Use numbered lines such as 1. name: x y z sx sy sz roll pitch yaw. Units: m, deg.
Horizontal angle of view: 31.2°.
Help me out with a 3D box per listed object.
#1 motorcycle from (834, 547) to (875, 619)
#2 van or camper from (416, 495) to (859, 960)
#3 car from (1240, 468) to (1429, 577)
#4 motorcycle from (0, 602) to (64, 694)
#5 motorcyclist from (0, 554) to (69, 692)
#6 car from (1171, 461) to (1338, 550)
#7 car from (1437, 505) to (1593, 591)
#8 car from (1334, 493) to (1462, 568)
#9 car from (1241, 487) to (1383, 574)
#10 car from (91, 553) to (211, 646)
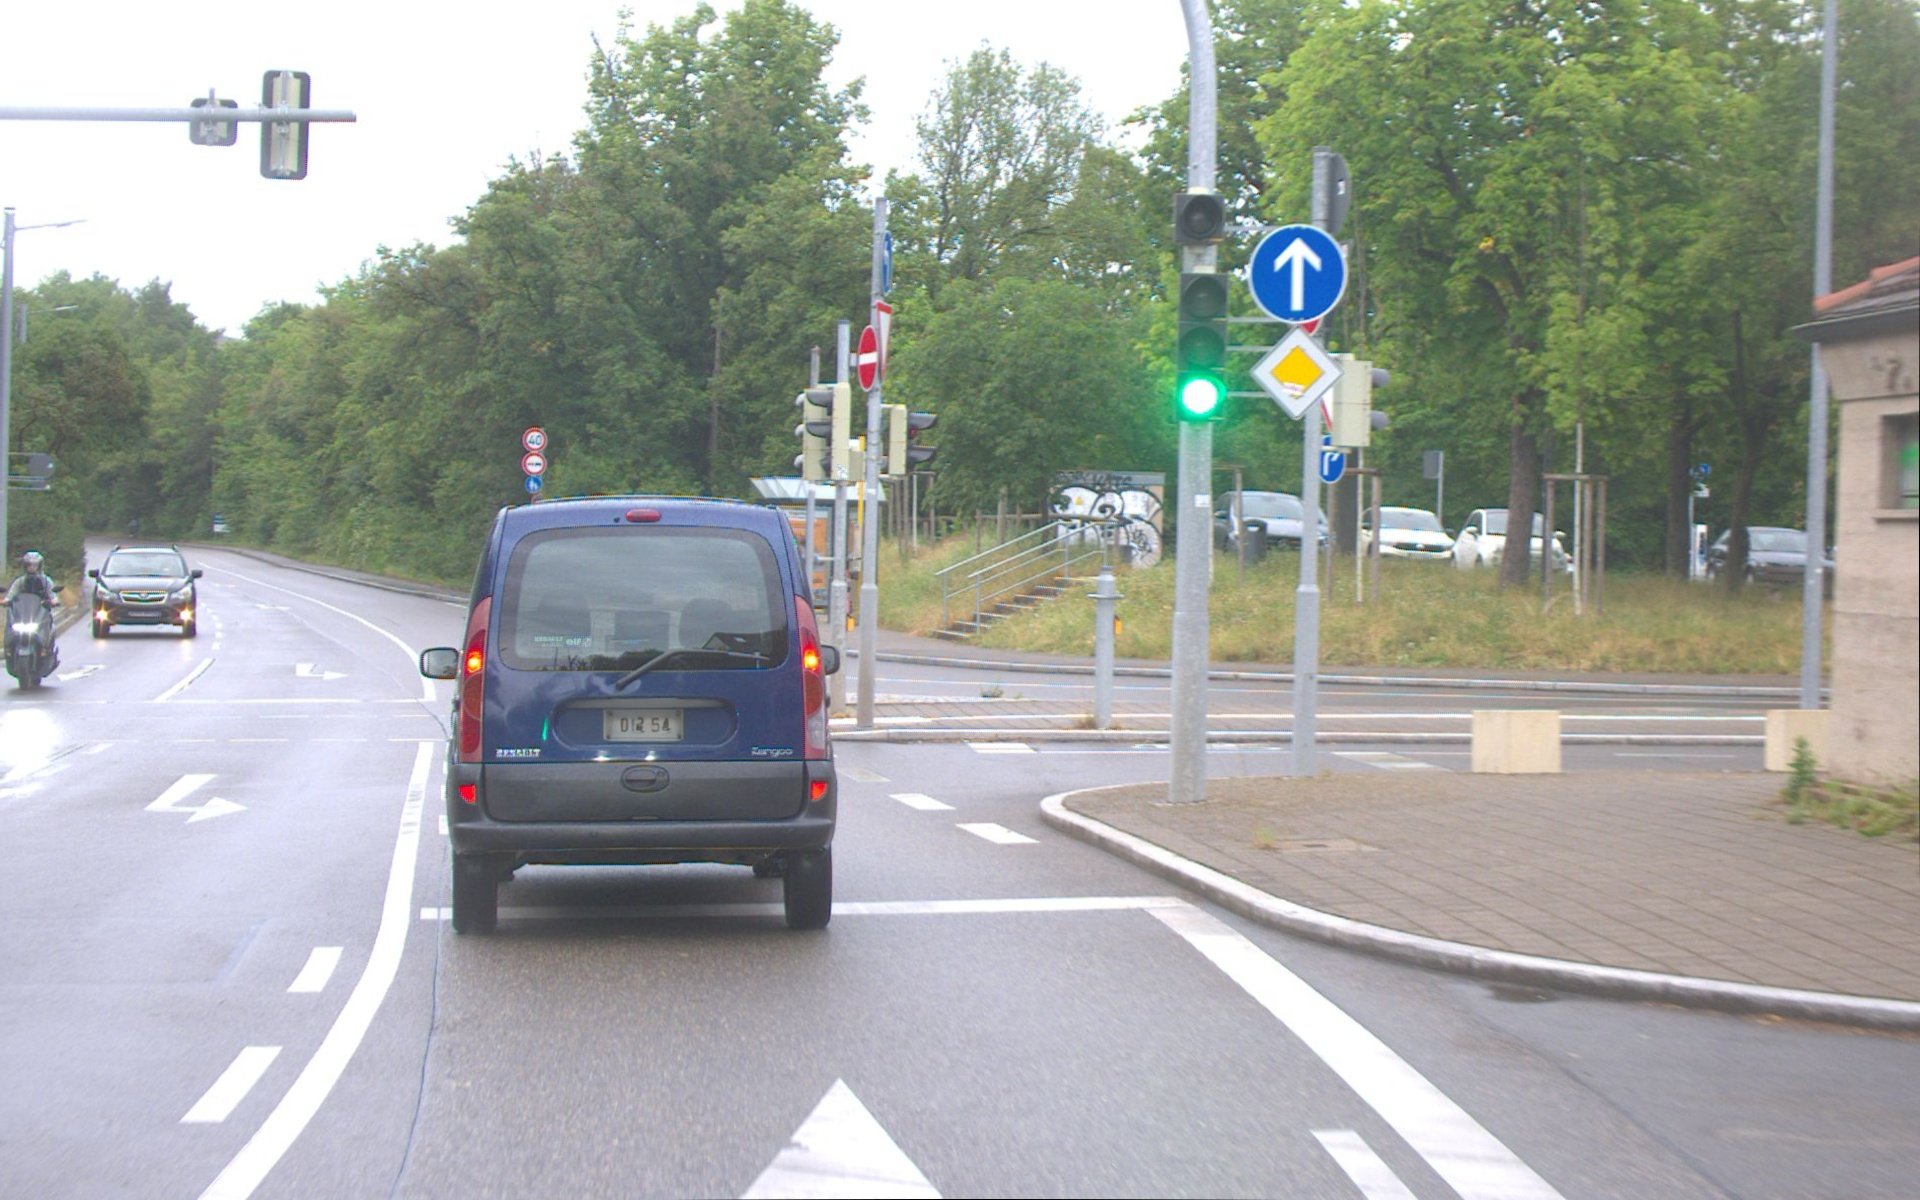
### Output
1. motorcycle: -1.929 -0.325 62.806 0.589 1.284 1.538 1 1 4
2. van or camper: -1.541 0.488 15.751 1.712 1.819 4.001 2 1 -7
3. car: 6.294 -1.327 58.205 1.993 1.656 4.001 4 1 -11
4. motorcycle: -11.118 0.560 41.133 0.594 1.047 1.999 0 1 -10
5. motorcyclist: -11.100 0.268 41.121 0.745 1.626 0.927 0 1 -7
6. car: 5.413 -1.722 63.742 1.993 1.475 4.285 3 0 -10
7. car: 10.385 -0.957 64.620 1.885 1.475 4.069 3 0 -5
8. car: 9.548 -1.504 75.262 1.885 1.475 4.069 3 0 -5
9. car: 7.391 -1.481 72.712 1.993 1.656 4.473 4 1 -6
10. car: -14.473 -0.043 61.662 1.788 1.576 4.563 0 1 -9
